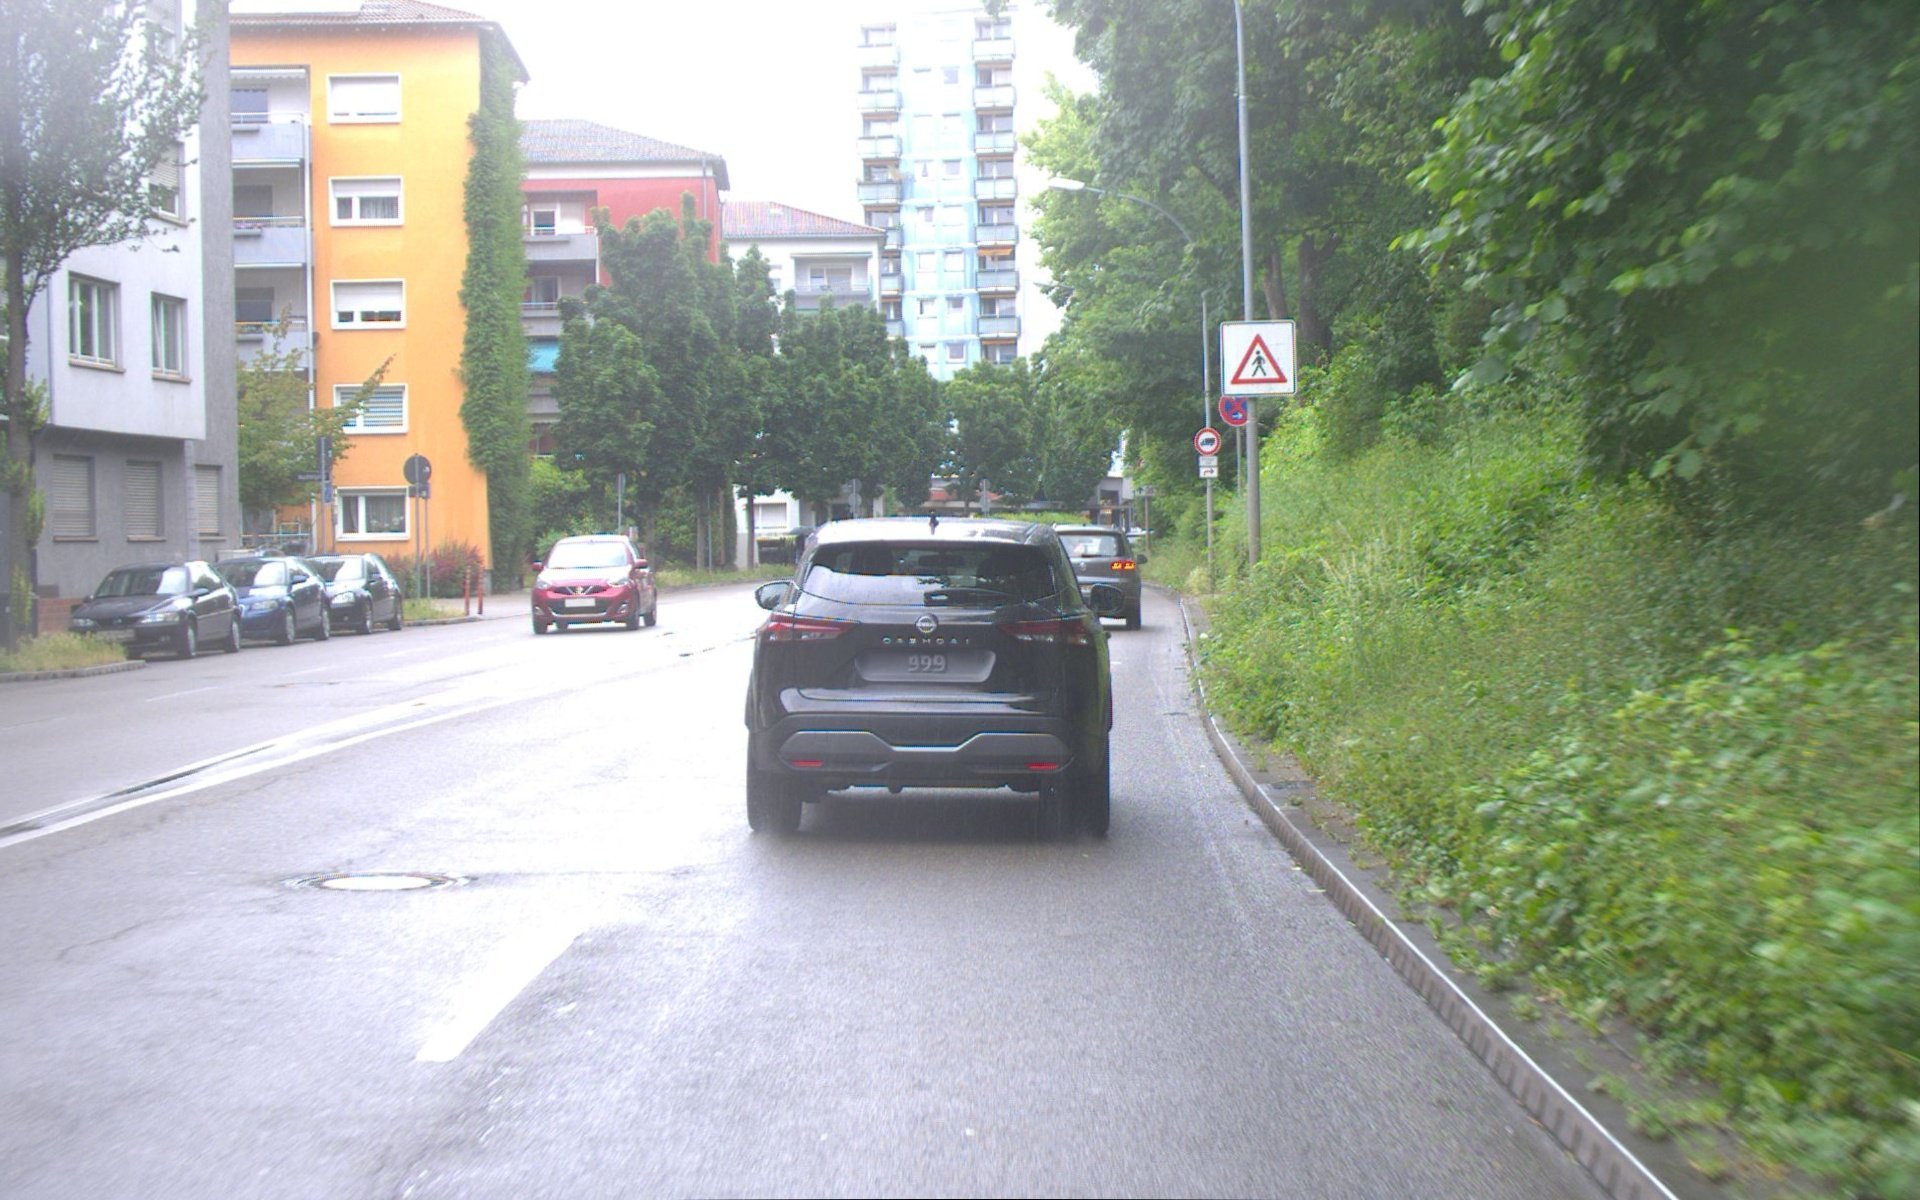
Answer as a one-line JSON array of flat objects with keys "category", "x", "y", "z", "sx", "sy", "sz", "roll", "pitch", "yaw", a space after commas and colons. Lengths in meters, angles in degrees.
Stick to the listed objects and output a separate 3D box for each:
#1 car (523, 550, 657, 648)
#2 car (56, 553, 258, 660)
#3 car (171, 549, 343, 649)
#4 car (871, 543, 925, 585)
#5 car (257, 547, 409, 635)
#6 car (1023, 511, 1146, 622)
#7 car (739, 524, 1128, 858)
[{"category": "car", "x": -5.908, "y": -0.039, "z": 55.223, "sx": 1.706, "sy": 1.473, "sz": 3.680, "roll": -1, "pitch": 1, "yaw": 0}, {"category": "car", "x": -11.498, "y": 0.060, "z": 49.523, "sx": 1.688, "sy": 1.353, "sz": 4.579, "roll": -4, "pitch": 1, "yaw": 1}, {"category": "car", "x": -11.245, "y": -0.053, "z": 55.249, "sx": 1.680, "sy": 1.444, "sz": 4.276, "roll": -3, "pitch": 1, "yaw": 2}, {"category": "car", "x": -2.311, "y": -1.381, "z": 129.272, "sx": 1.788, "sy": 1.499, "sz": 4.649, "roll": -2, "pitch": 1, "yaw": 1}, {"category": "car", "x": -11.064, "y": -0.185, "z": 60.955, "sx": 1.712, "sy": 1.421, "sz": 4.322, "roll": -3, "pitch": 1, "yaw": 2}, {"category": "car", "x": 1.988, "y": -0.535, "z": 54.854, "sx": 1.887, "sy": 1.705, "sz": 4.000, "roll": 0, "pitch": 1, "yaw": 2}, {"category": "car", "x": -0.076, "y": 0.401, "z": 18.429, "sx": 1.845, "sy": 1.577, "sz": 4.000, "roll": 1, "pitch": 1, "yaw": 1}]
